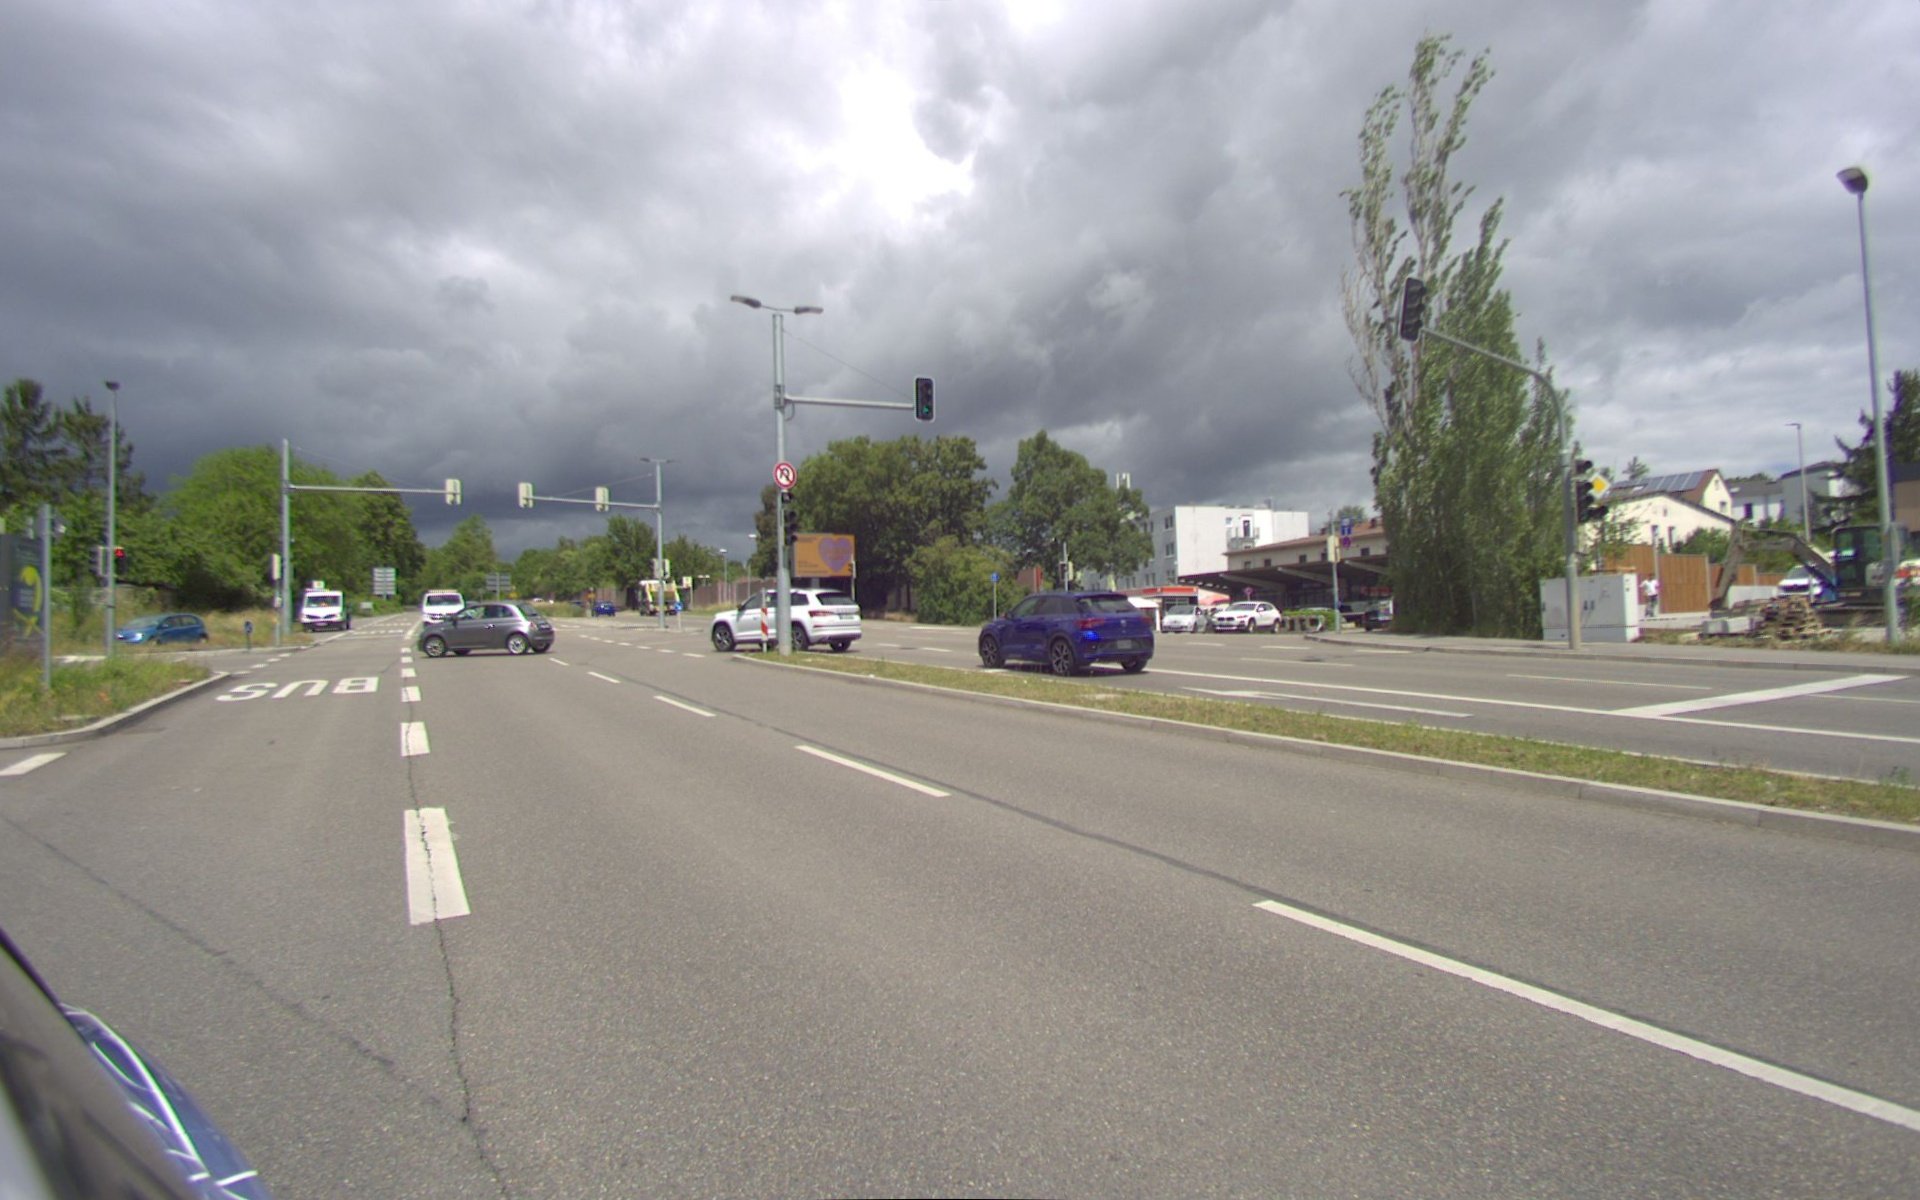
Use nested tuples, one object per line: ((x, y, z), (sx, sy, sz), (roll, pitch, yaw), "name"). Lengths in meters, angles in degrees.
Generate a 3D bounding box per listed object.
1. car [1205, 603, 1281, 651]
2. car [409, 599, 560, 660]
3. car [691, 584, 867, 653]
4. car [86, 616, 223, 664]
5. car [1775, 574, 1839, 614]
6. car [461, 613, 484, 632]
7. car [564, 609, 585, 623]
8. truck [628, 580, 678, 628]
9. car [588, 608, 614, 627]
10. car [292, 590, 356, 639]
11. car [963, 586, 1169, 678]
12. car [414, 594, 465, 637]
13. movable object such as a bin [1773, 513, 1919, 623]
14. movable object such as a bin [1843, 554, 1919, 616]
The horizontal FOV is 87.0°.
((13.103, 1.274, 46.753), (1.996, 2.029, 3.951), (-6, -5, 36), "car")
((-13.183, 0.840, 28.161), (3.478, 1.472, 1.583), (-3, -3, 3), "car")
((-4.838, 0.516, 26.628), (4.895, 1.671, 1.711), (-2, -1, 38), "car")
((-30.945, 1.486, 39.084), (1.883, 1.649, 4.451), (-1, 0, -3), "car")
((38.415, -0.262, 45.900), (3.679, 1.747, 1.715), (0, -1, -42), "car")
((-49.057, 2.251, 101.866), (1.965, 1.587, 4.012), (-1, -5, -27), "car")
((-43.091, 1.797, 113.087), (1.667, 1.411, 4.012), (-1, -1, -28), "car")
((-27.298, 0.380, 89.833), (2.798, 3.606, 6.988), (-1, -5, -29), "truck")
((-33.019, 1.622, 93.030), (1.667, 1.411, 4.012), (-1, -4, -29), "car")
((-37.218, 0.857, 59.354), (2.127, 2.670, 5.844), (-1, 0, -22), "car")
((1.895, 0.589, 19.546), (1.779, 1.522, 4.412), (-1, -1, -27), "car")
((-25.453, 0.742, 49.390), (1.878, 1.952, 4.986), (-1, 0, -31), "car")
((22.867, -0.736, 25.257), (2.118, 2.557, 3.422), (-1, 0, -10), "movable object such as a bin")
((35.201, -0.744, 34.875), (2.257, 2.029, 6.963), (-2, -4, -15), "movable object such as a bin")
